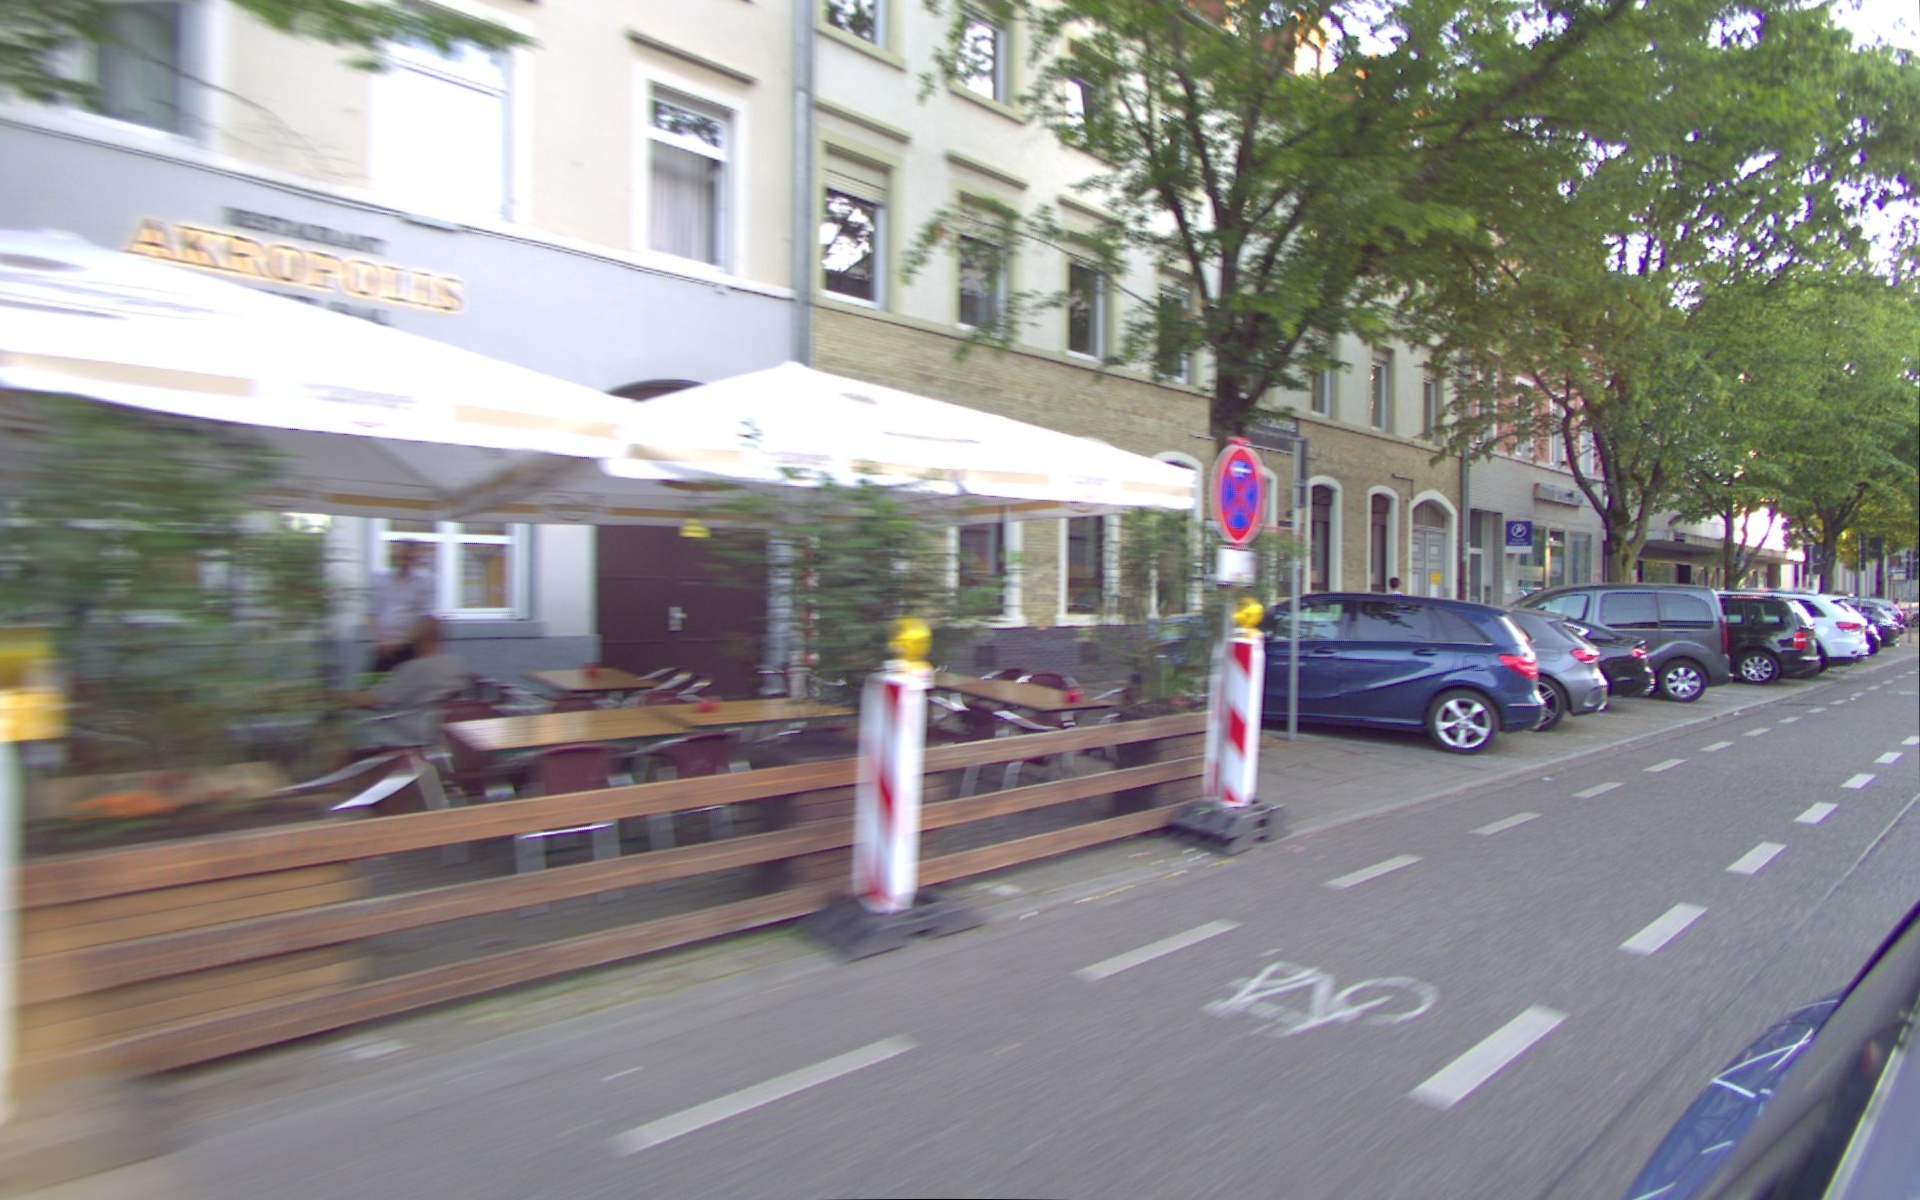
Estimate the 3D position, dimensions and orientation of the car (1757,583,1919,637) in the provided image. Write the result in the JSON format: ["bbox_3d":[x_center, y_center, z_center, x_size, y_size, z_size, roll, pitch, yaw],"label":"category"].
[{"bbox_3d":[32.014,0.322,36.905,4.109,1.684,1.834,3,2,16],"label":"car"}]

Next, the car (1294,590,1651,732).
[{"bbox_3d":[6.328,0.651,12.781,3.751,1.425,1.689,2,2,29],"label":"car"}]

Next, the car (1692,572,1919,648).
[{"bbox_3d":[24.868,0.227,29.915,4.943,1.849,2.183,4,3,32],"label":"car"}]

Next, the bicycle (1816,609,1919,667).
[{"bbox_3d":[19.888,0.818,22.028,1.831,1.116,0.491,4,2,36],"label":"bicycle"}]

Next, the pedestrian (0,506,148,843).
[{"bbox_3d":[-5.166,0.393,5.767,0.548,1.785,0.707,-1,-1,32],"label":"pedestrian"}]

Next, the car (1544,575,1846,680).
[{"bbox_3d":[14.670,0.449,20.399,4.652,1.708,1.976,4,3,45],"label":"car"}]

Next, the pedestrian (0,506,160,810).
[{"bbox_3d":[-5.683,0.338,6.408,0.548,1.785,0.843,-1,-1,32],"label":"pedestrian"}]

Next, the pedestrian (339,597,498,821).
[{"bbox_3d":[-3.416,0.646,6.417,0.546,1.323,0.710,0,0,22],"label":"pedestrian"}]

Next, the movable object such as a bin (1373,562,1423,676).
[{"bbox_3d":[8.076,0.336,18.657,0.683,2.039,0.614,0,0,-42],"label":"movable object such as a bin"}]

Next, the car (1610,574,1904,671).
[{"bbox_3d":[17.018,0.389,21.808,1.973,1.708,4.658,0,3,-41],"label":"car"}]

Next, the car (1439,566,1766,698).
[{"bbox_3d":[10.200,0.418,16.498,4.112,1.829,1.994,2,2,22],"label":"car"}]

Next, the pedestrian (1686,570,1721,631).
[{"bbox_3d":[25.020,0.013,34.055,0.772,2.009,0.693,0,2,-41],"label":"pedestrian"}]

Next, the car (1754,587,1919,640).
[{"bbox_3d":[30.015,0.416,34.774,3.845,1.520,1.803,3,2,19],"label":"car"}]

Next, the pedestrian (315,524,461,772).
[{"bbox_3d":[-4.373,0.345,7.758,0.696,1.785,0.709,-1,-1,23],"label":"pedestrian"}]

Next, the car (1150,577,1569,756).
[{"bbox_3d":[4.237,0.587,11.096,3.932,1.572,1.692,2,2,25],"label":"car"}]

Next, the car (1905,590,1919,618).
[{"bbox_3d":[55.147,0.346,55.422,4.557,1.532,1.848,3,1,23],"label":"car"}]

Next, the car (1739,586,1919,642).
[{"bbox_3d":[28.022,0.408,32.615,4.120,1.483,1.957,3,2,22],"label":"car"}]

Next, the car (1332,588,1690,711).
[{"bbox_3d":[7.749,0.624,14.752,4.269,1.406,1.796,3,2,20],"label":"car"}]
